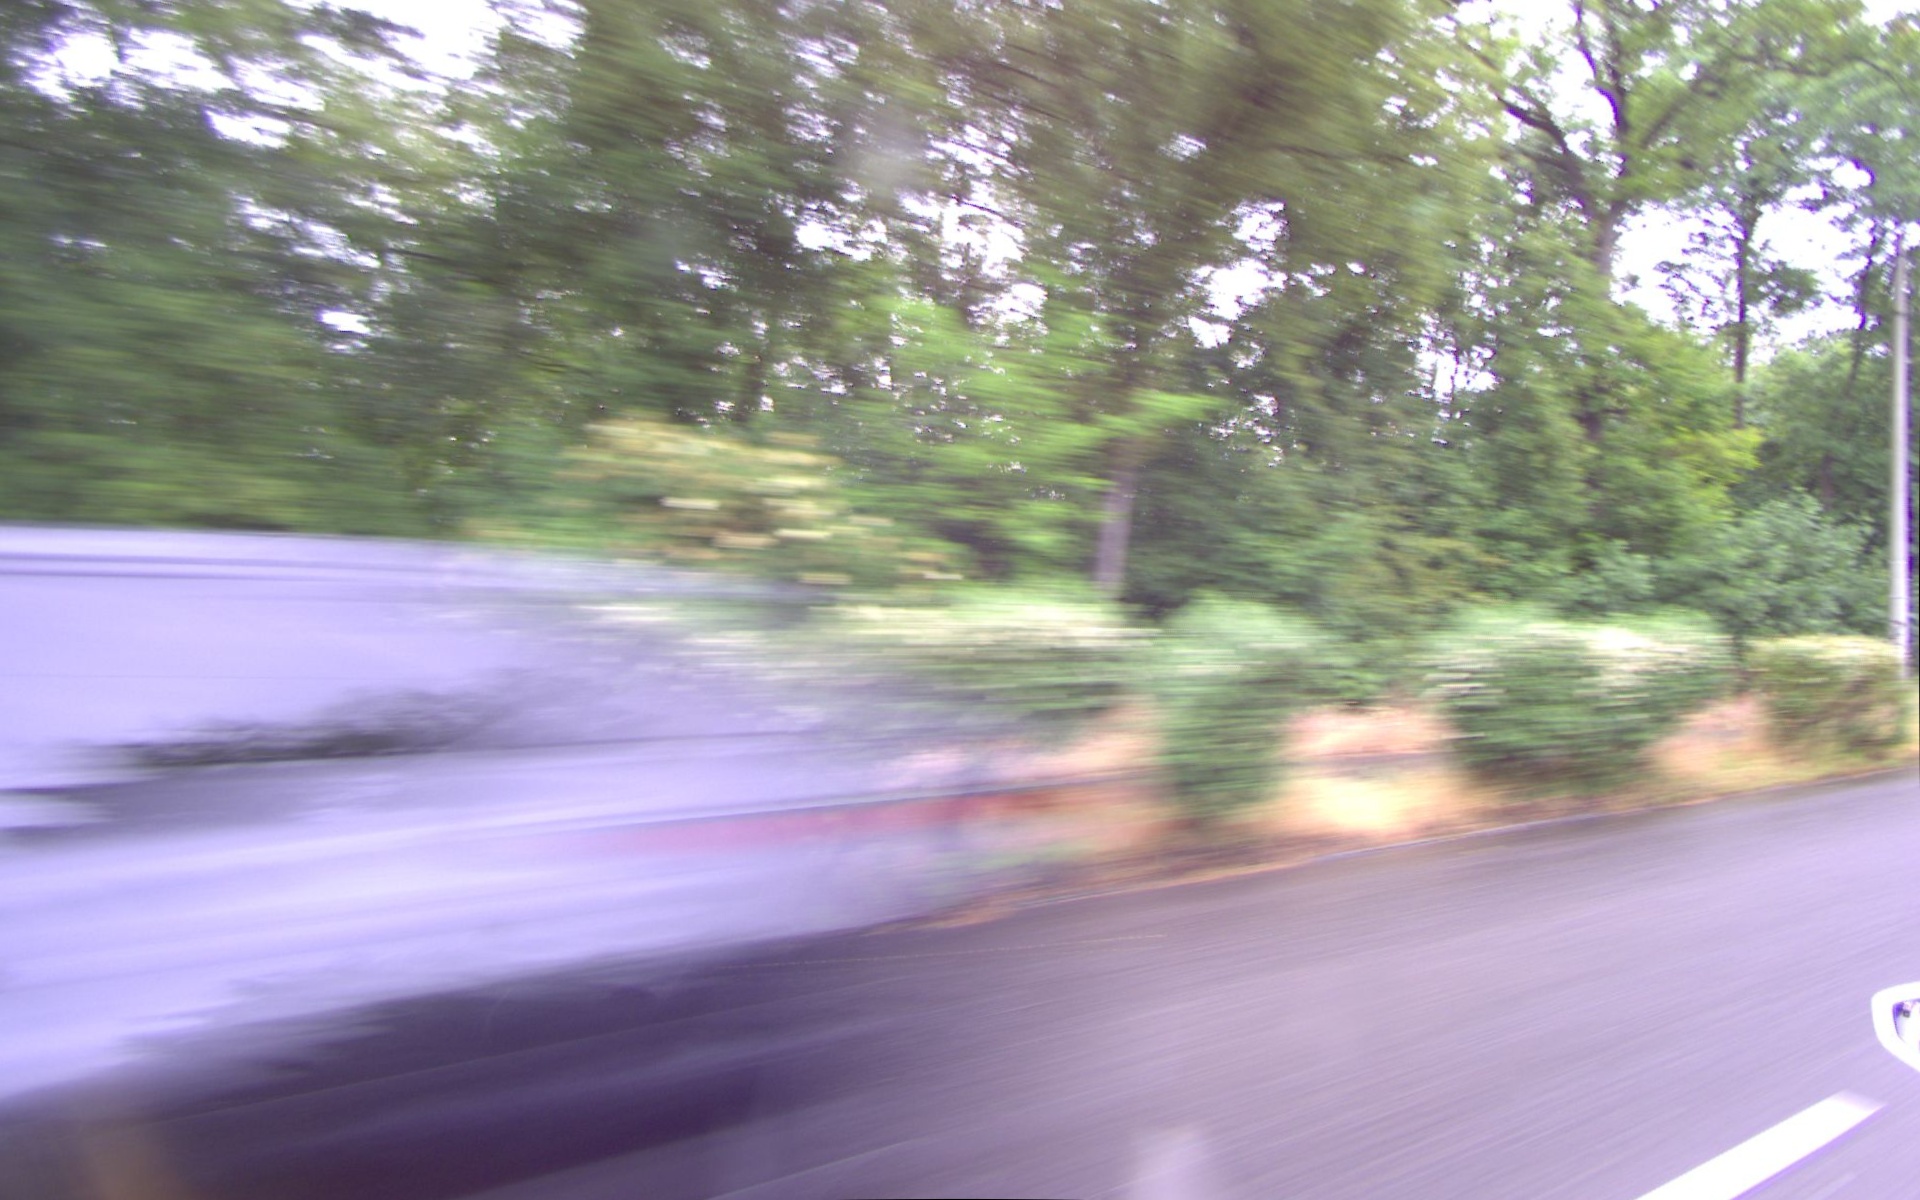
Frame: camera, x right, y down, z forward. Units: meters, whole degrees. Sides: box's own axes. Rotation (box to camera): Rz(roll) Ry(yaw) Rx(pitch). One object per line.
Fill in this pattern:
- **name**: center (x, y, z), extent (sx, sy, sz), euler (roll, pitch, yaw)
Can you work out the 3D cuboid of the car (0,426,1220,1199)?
- **car**: center (-1.867, 0.640, 1.500), extent (4.379, 1.567, 1.796), euler (0, -2, -30)
